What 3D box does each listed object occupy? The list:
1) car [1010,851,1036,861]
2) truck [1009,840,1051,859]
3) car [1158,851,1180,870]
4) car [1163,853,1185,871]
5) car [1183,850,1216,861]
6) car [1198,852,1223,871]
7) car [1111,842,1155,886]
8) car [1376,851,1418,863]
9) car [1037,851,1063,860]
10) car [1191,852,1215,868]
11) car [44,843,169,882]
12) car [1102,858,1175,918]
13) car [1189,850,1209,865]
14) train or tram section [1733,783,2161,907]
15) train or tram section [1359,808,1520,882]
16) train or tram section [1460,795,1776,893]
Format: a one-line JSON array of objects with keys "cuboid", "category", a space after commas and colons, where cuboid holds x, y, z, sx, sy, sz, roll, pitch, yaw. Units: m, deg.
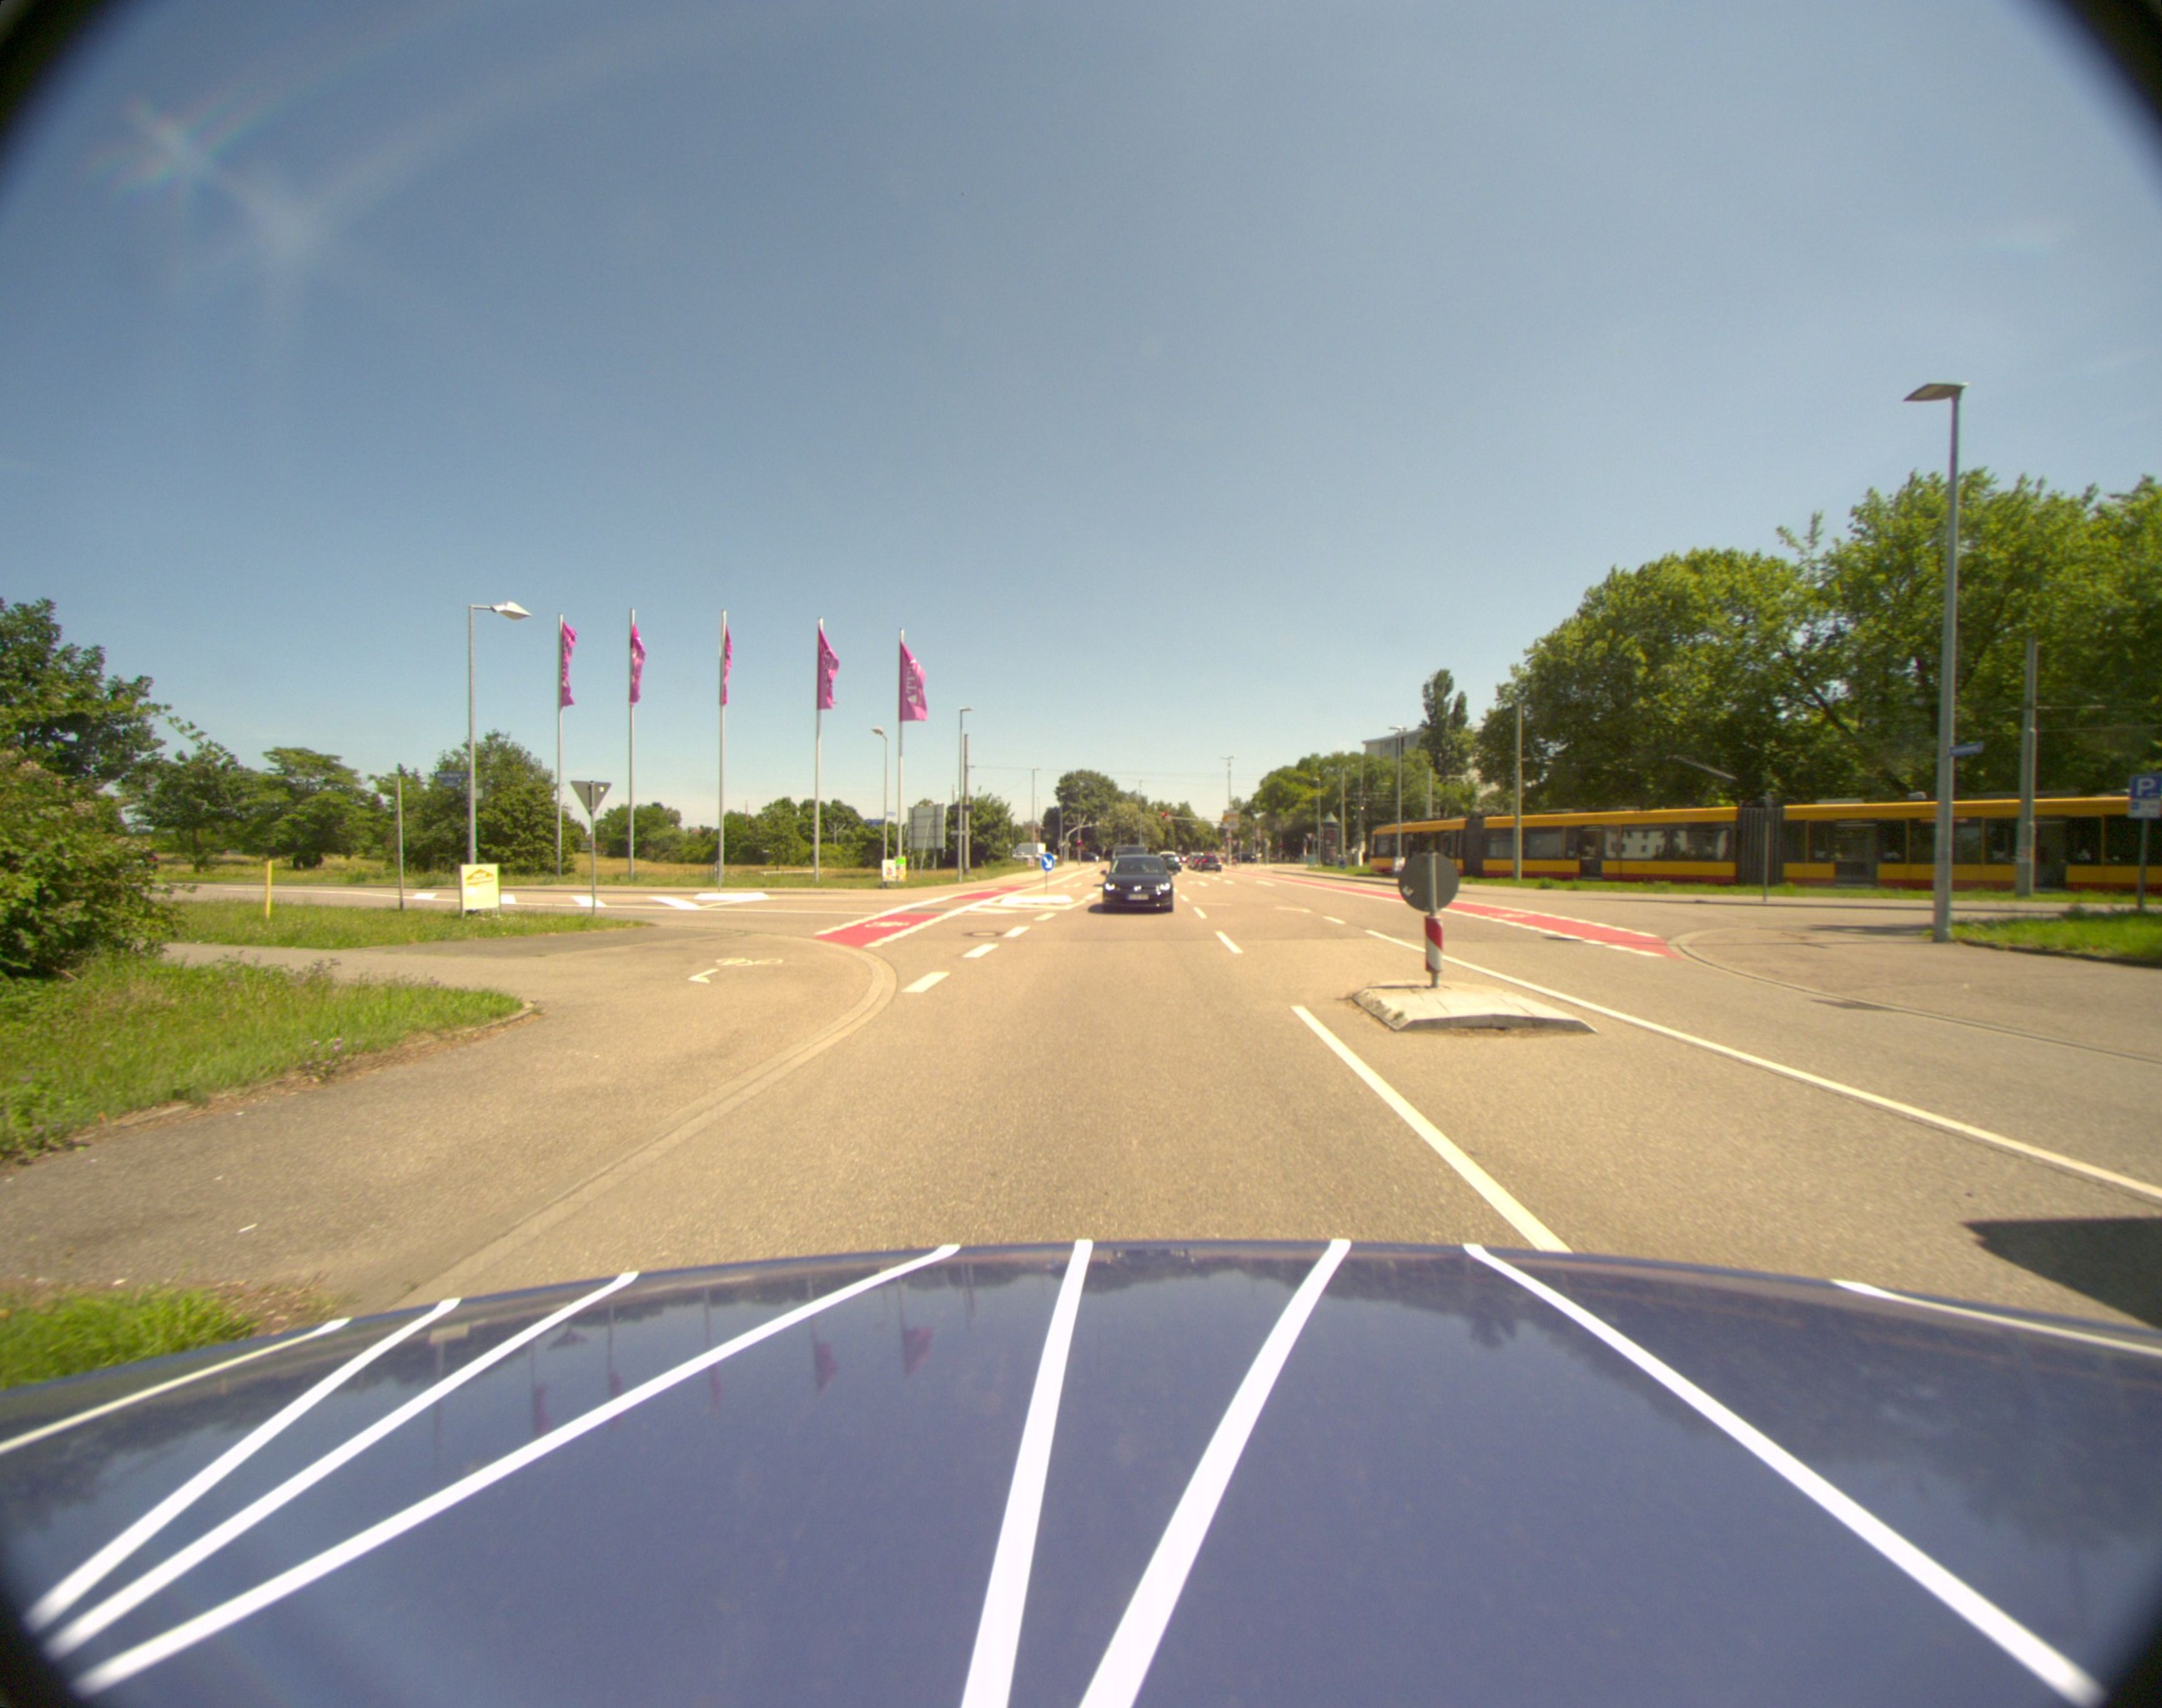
[{"cuboid": [-10.040, 0.349, 131.496, 4.399, 1.567, 1.879, 0, -1, 35], "category": "car"}, {"cuboid": [-9.524, -0.824, 141.540, 7.689, 3.511, 2.594, 0, -2, 35], "category": "truck"}, {"cuboid": [8.334, 0.562, 72.083, 1.815, 1.713, 4.832, -1, 0, 4], "category": "car"}, {"cuboid": [7.884, 0.674, 64.756, 1.726, 1.454, 3.991, -1, 0, 5], "category": "car"}, {"cuboid": [17.209, 0.154, 110.265, 4.399, 1.567, 1.879, 0, -1, 35], "category": "car"}, {"cuboid": [10.609, 0.579, 62.339, 1.625, 1.447, 3.502, 1, 1, 4], "category": "car"}, {"cuboid": [2.478, 0.437, 35.972, 1.941, 1.920, 4.847, 0, 0, 4], "category": "car"}, {"cuboid": [38.816, 0.354, 93.379, 4.399, 1.380, 1.879, 0, -1, 35], "category": "car"}, {"cuboid": [-5.540, 0.190, 134.362, 4.399, 1.567, 1.879, 0, -1, 35], "category": "car"}, {"cuboid": [11.325, 0.512, 70.525, 1.764, 1.448, 4.286, 0, 0, 3], "category": "car"}, {"cuboid": [-41.199, 0.353, 32.157, 3.622, 1.524, 1.707, -2, 0, 10], "category": "car"}, {"cuboid": [1.519, 0.816, 20.129, 1.708, 1.396, 4.055, 1, 0, 4], "category": "car"}, {"cuboid": [12.352, 0.344, 79.921, 1.795, 1.447, 4.414, 1, 0, 5], "category": "car"}, {"cuboid": [31.429, -0.283, 25.643, 14.006, 3.737, 3.033, 1, 0, 36], "category": "train or tram section"}, {"cuboid": [20.888, -0.454, 45.711, 3.024, 3.737, 12.991, 1, 0, -2], "category": "train or tram section"}, {"cuboid": [23.595, -0.414, 34.689, 3.031, 3.737, 11.589, 1, 0, -28], "category": "train or tram section"}]
